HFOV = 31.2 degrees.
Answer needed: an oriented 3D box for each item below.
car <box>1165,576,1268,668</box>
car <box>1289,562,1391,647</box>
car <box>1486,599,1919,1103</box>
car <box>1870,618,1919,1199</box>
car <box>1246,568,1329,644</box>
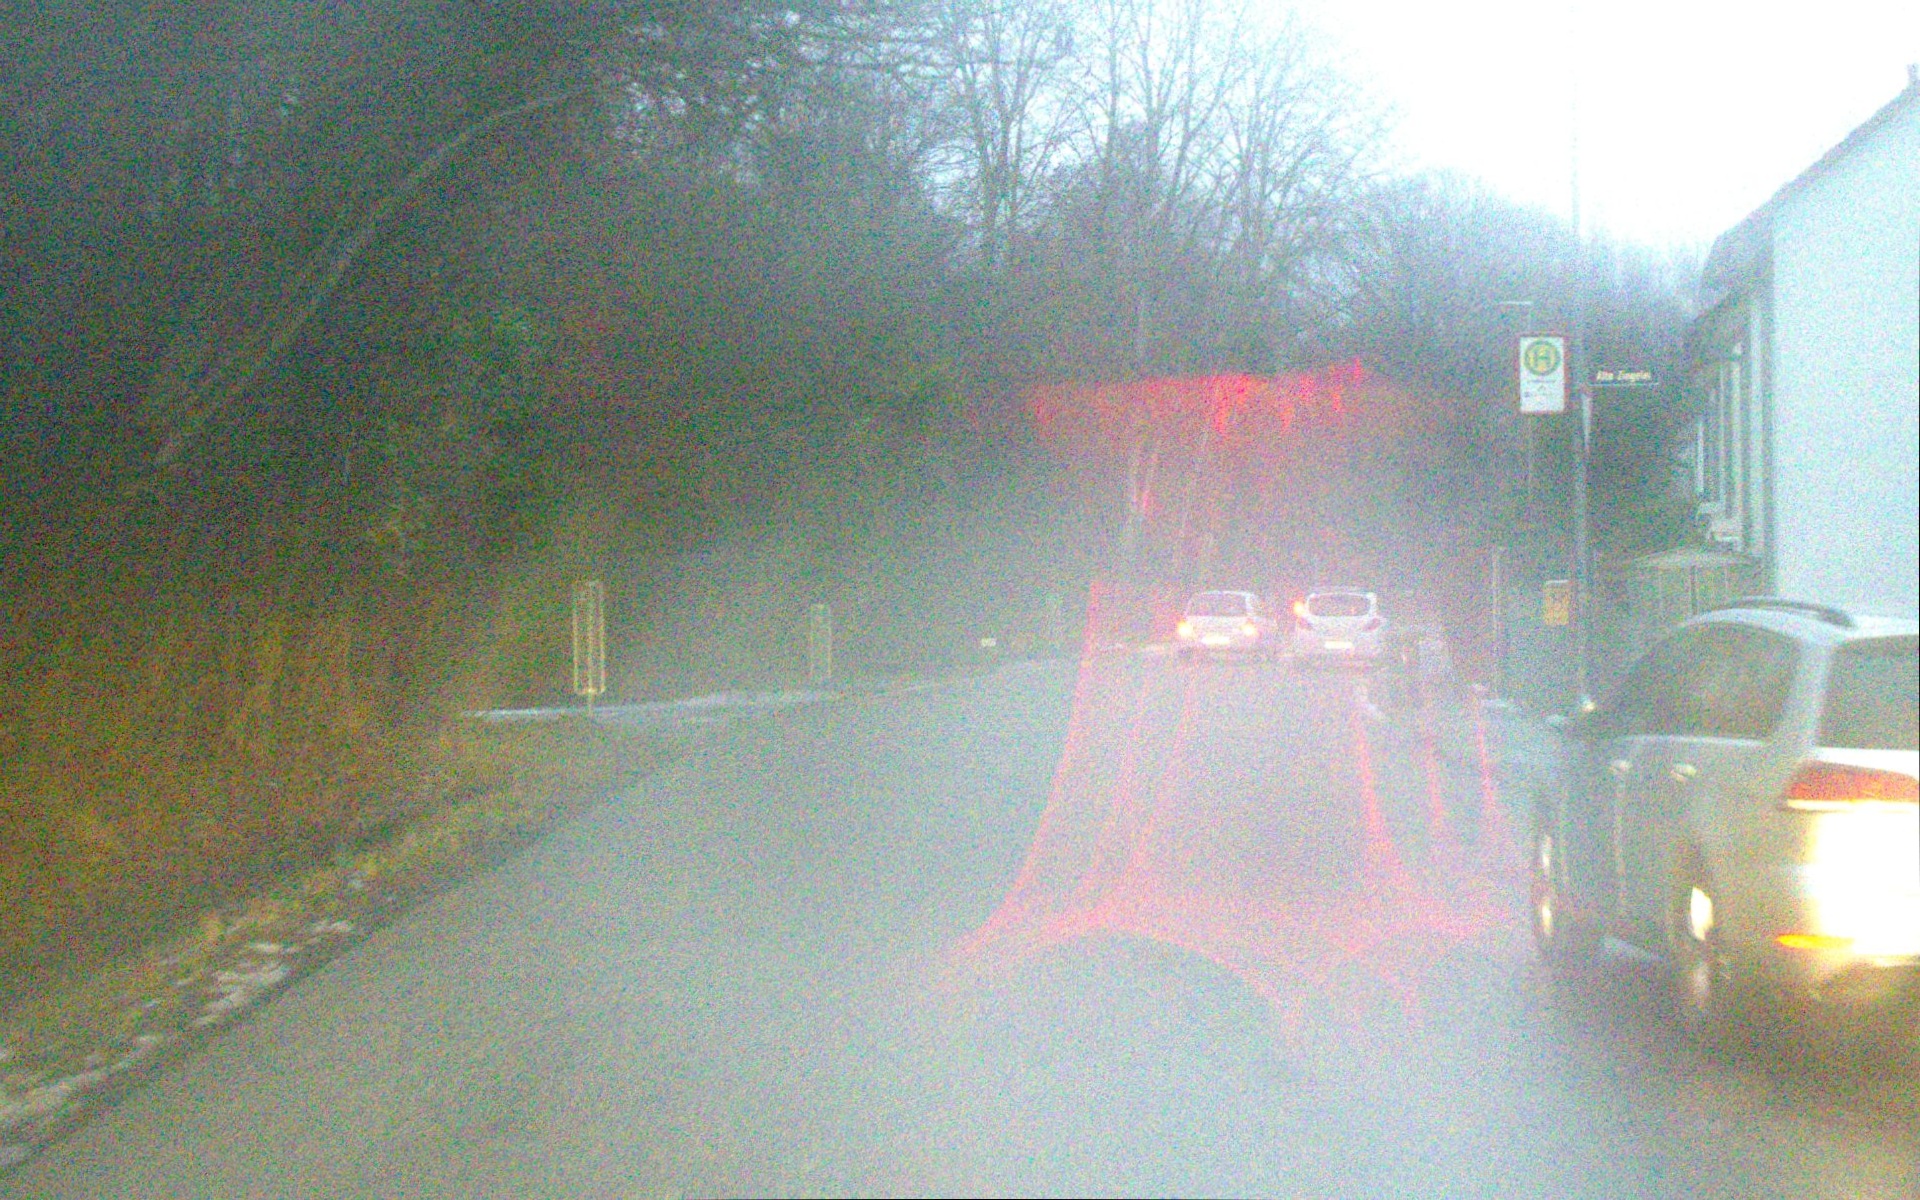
[{"bbox_3d":[5.142,0.411,68.536,1.933,1.775,3.999,0,0,6],"label":"car"},{"bbox_3d":[7.173,0.090,64.706,1.704,1.501,4.023,1,0,9],"label":"car"},{"bbox_3d":[3.103,0.740,12.071,1.738,1.424,4.457,2,0,-1],"label":"car"},{"bbox_3d":[3.076,0.783,6.037,1.655,1.424,4.564,2,0,-1],"label":"car"},{"bbox_3d":[7.806,0.129,81.791,1.690,1.768,3.859,0,0,10],"label":"car"}]
